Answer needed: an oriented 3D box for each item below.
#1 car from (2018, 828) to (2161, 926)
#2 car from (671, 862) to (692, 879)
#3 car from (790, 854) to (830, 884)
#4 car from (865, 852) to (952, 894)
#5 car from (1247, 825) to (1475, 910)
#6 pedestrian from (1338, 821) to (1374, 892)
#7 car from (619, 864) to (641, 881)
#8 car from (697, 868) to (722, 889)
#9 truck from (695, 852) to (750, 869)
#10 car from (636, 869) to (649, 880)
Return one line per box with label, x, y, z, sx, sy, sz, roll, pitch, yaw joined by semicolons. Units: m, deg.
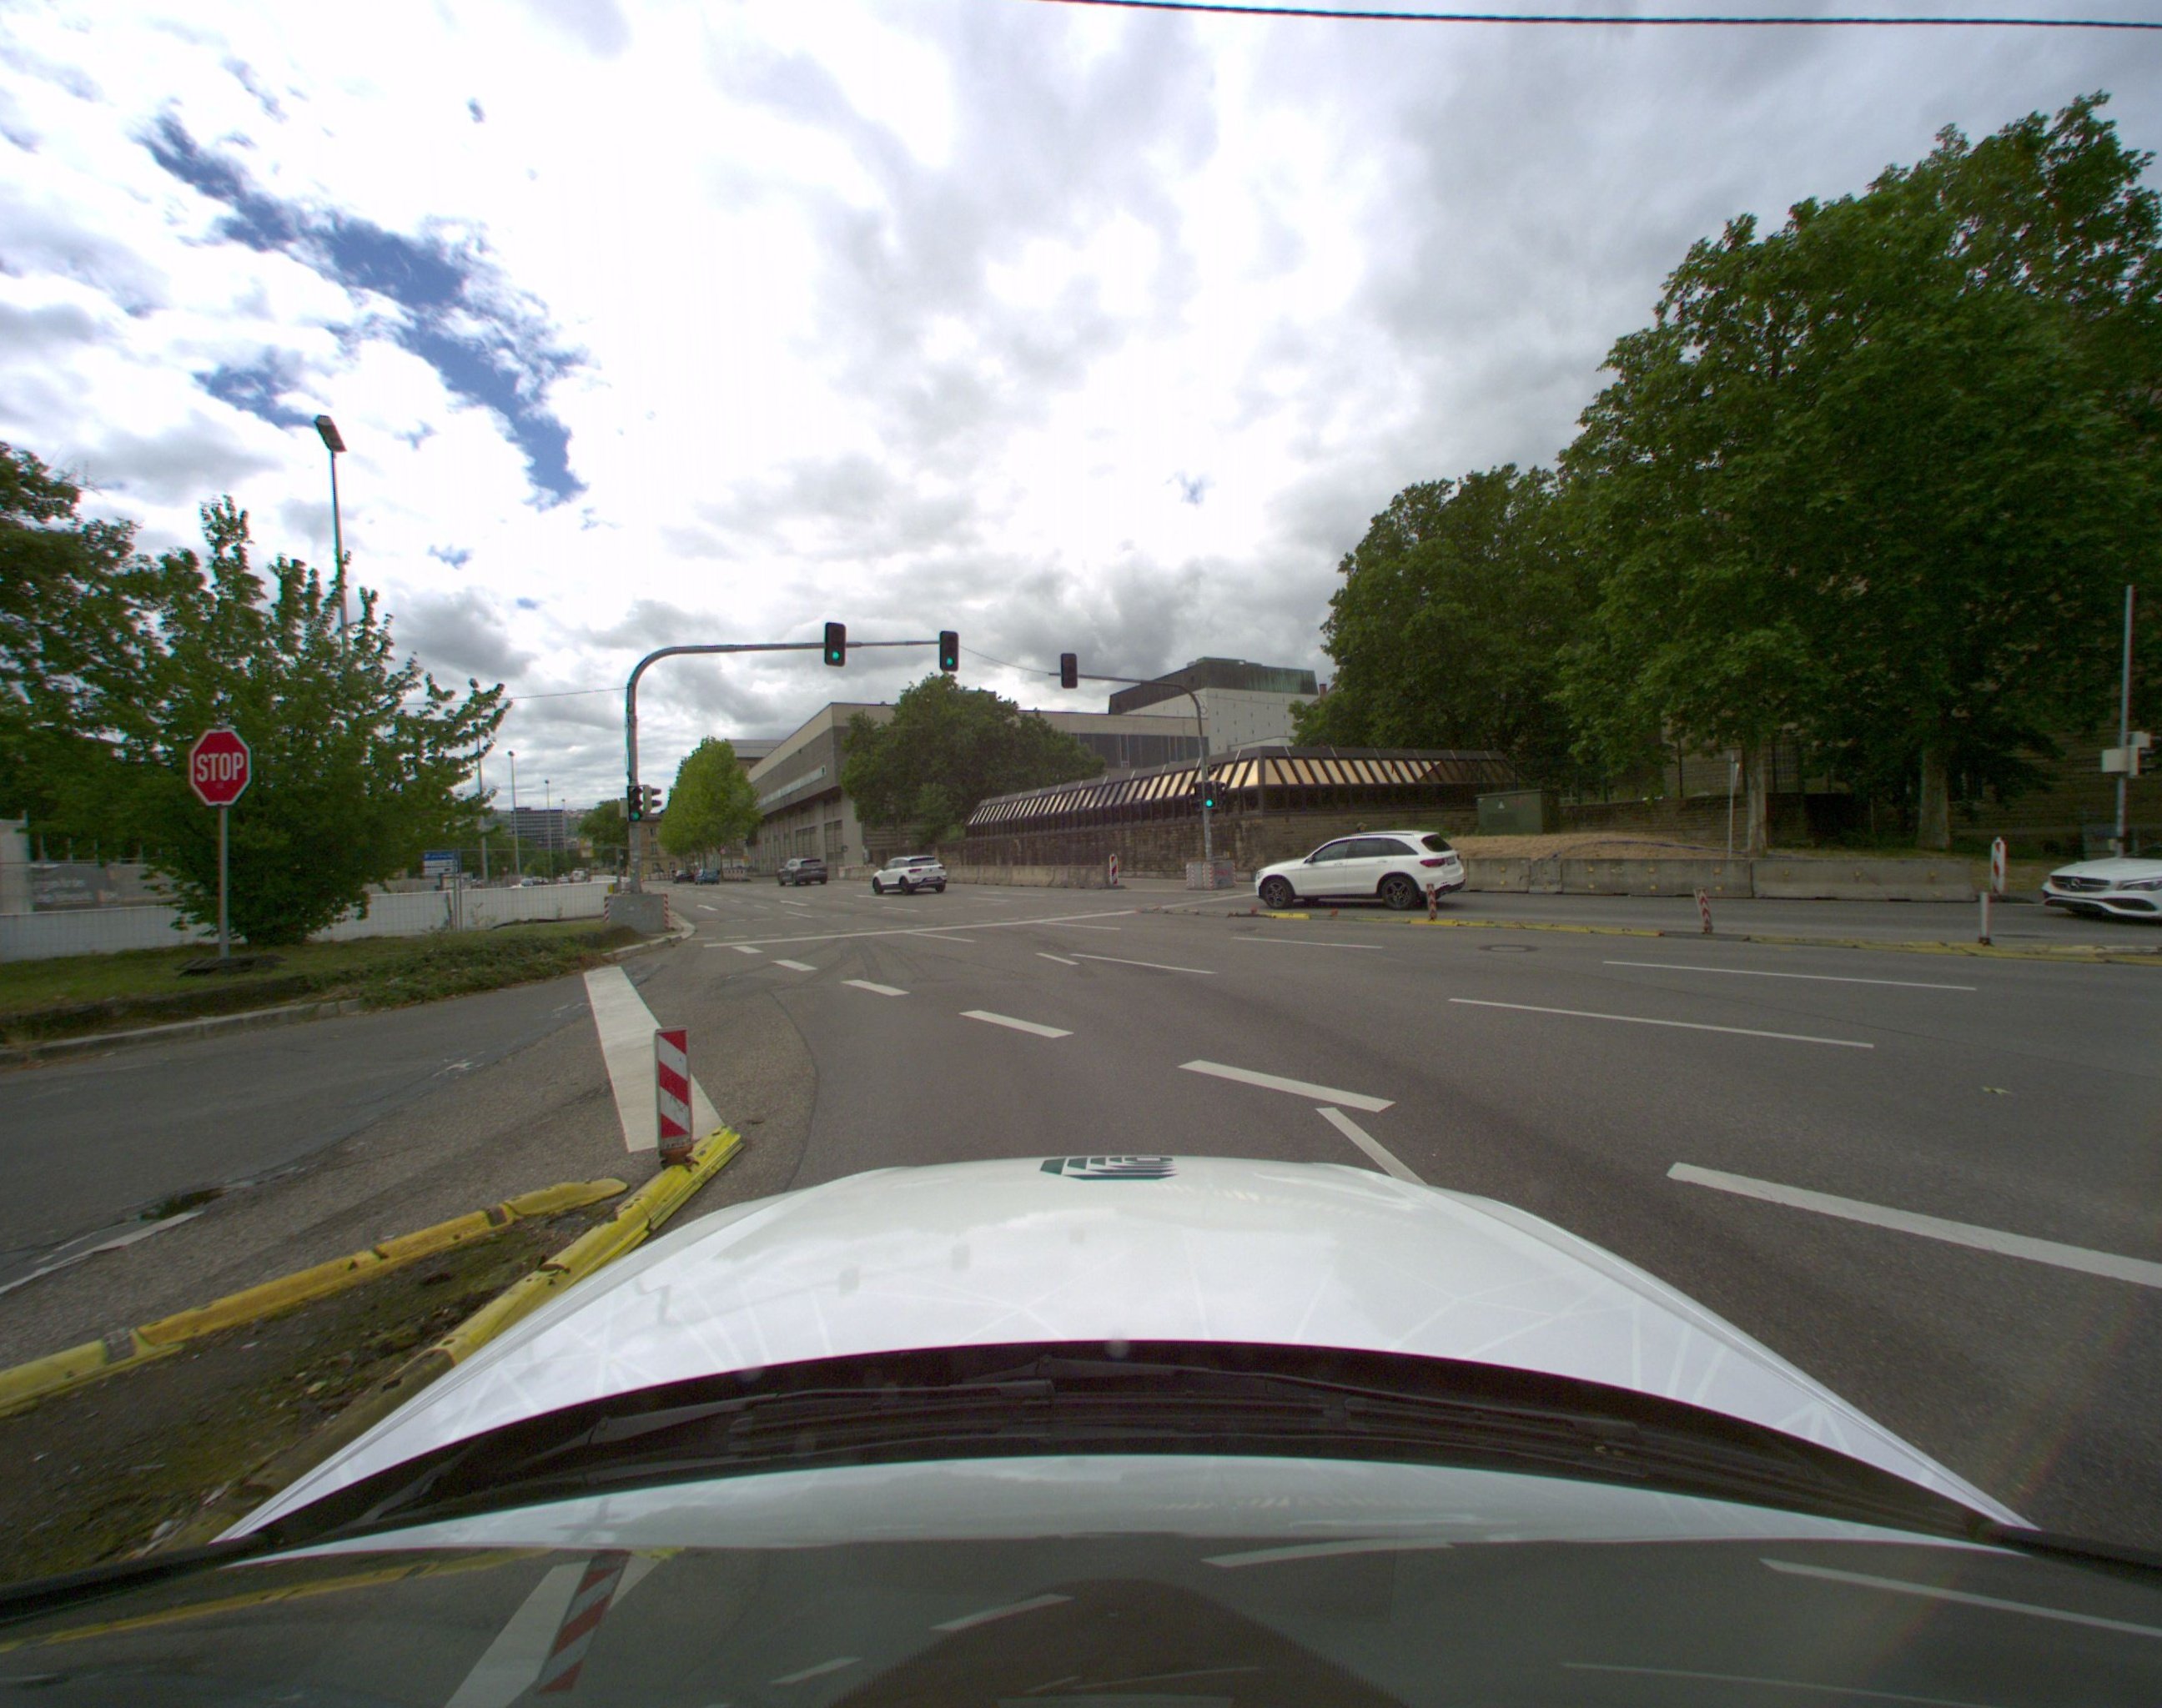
car;18.223;0.302;12.941;4.343;1.435;1.744;-1;1;7
car;-43.065;1.766;87.784;1.834;1.740;4.440;-4;1;-27
car;-17.009;0.915;50.948;1.832;1.567;4.444;-6;3;-24
car;-7.376;0.782;34.536;1.766;1.567;4.280;-5;2;-40
car;6.236;0.271;18.497;4.495;1.642;1.829;-1;3;44
pedestrian;8.043;0.074;23.836;0.840;2.014;0.626;-2;-1;28
car;-66.121;2.697;119.456;2.597;2.374;5.476;-4;1;-27
car;-34.083;2.255;74.657;1.834;1.740;4.440;-4;1;-27
truck;-74.801;1.346;170.161;10.097;3.050;2.543;-3;-1;-32
car;-78.914;3.701;146.716;1.834;1.740;4.440;-4;1;-27
